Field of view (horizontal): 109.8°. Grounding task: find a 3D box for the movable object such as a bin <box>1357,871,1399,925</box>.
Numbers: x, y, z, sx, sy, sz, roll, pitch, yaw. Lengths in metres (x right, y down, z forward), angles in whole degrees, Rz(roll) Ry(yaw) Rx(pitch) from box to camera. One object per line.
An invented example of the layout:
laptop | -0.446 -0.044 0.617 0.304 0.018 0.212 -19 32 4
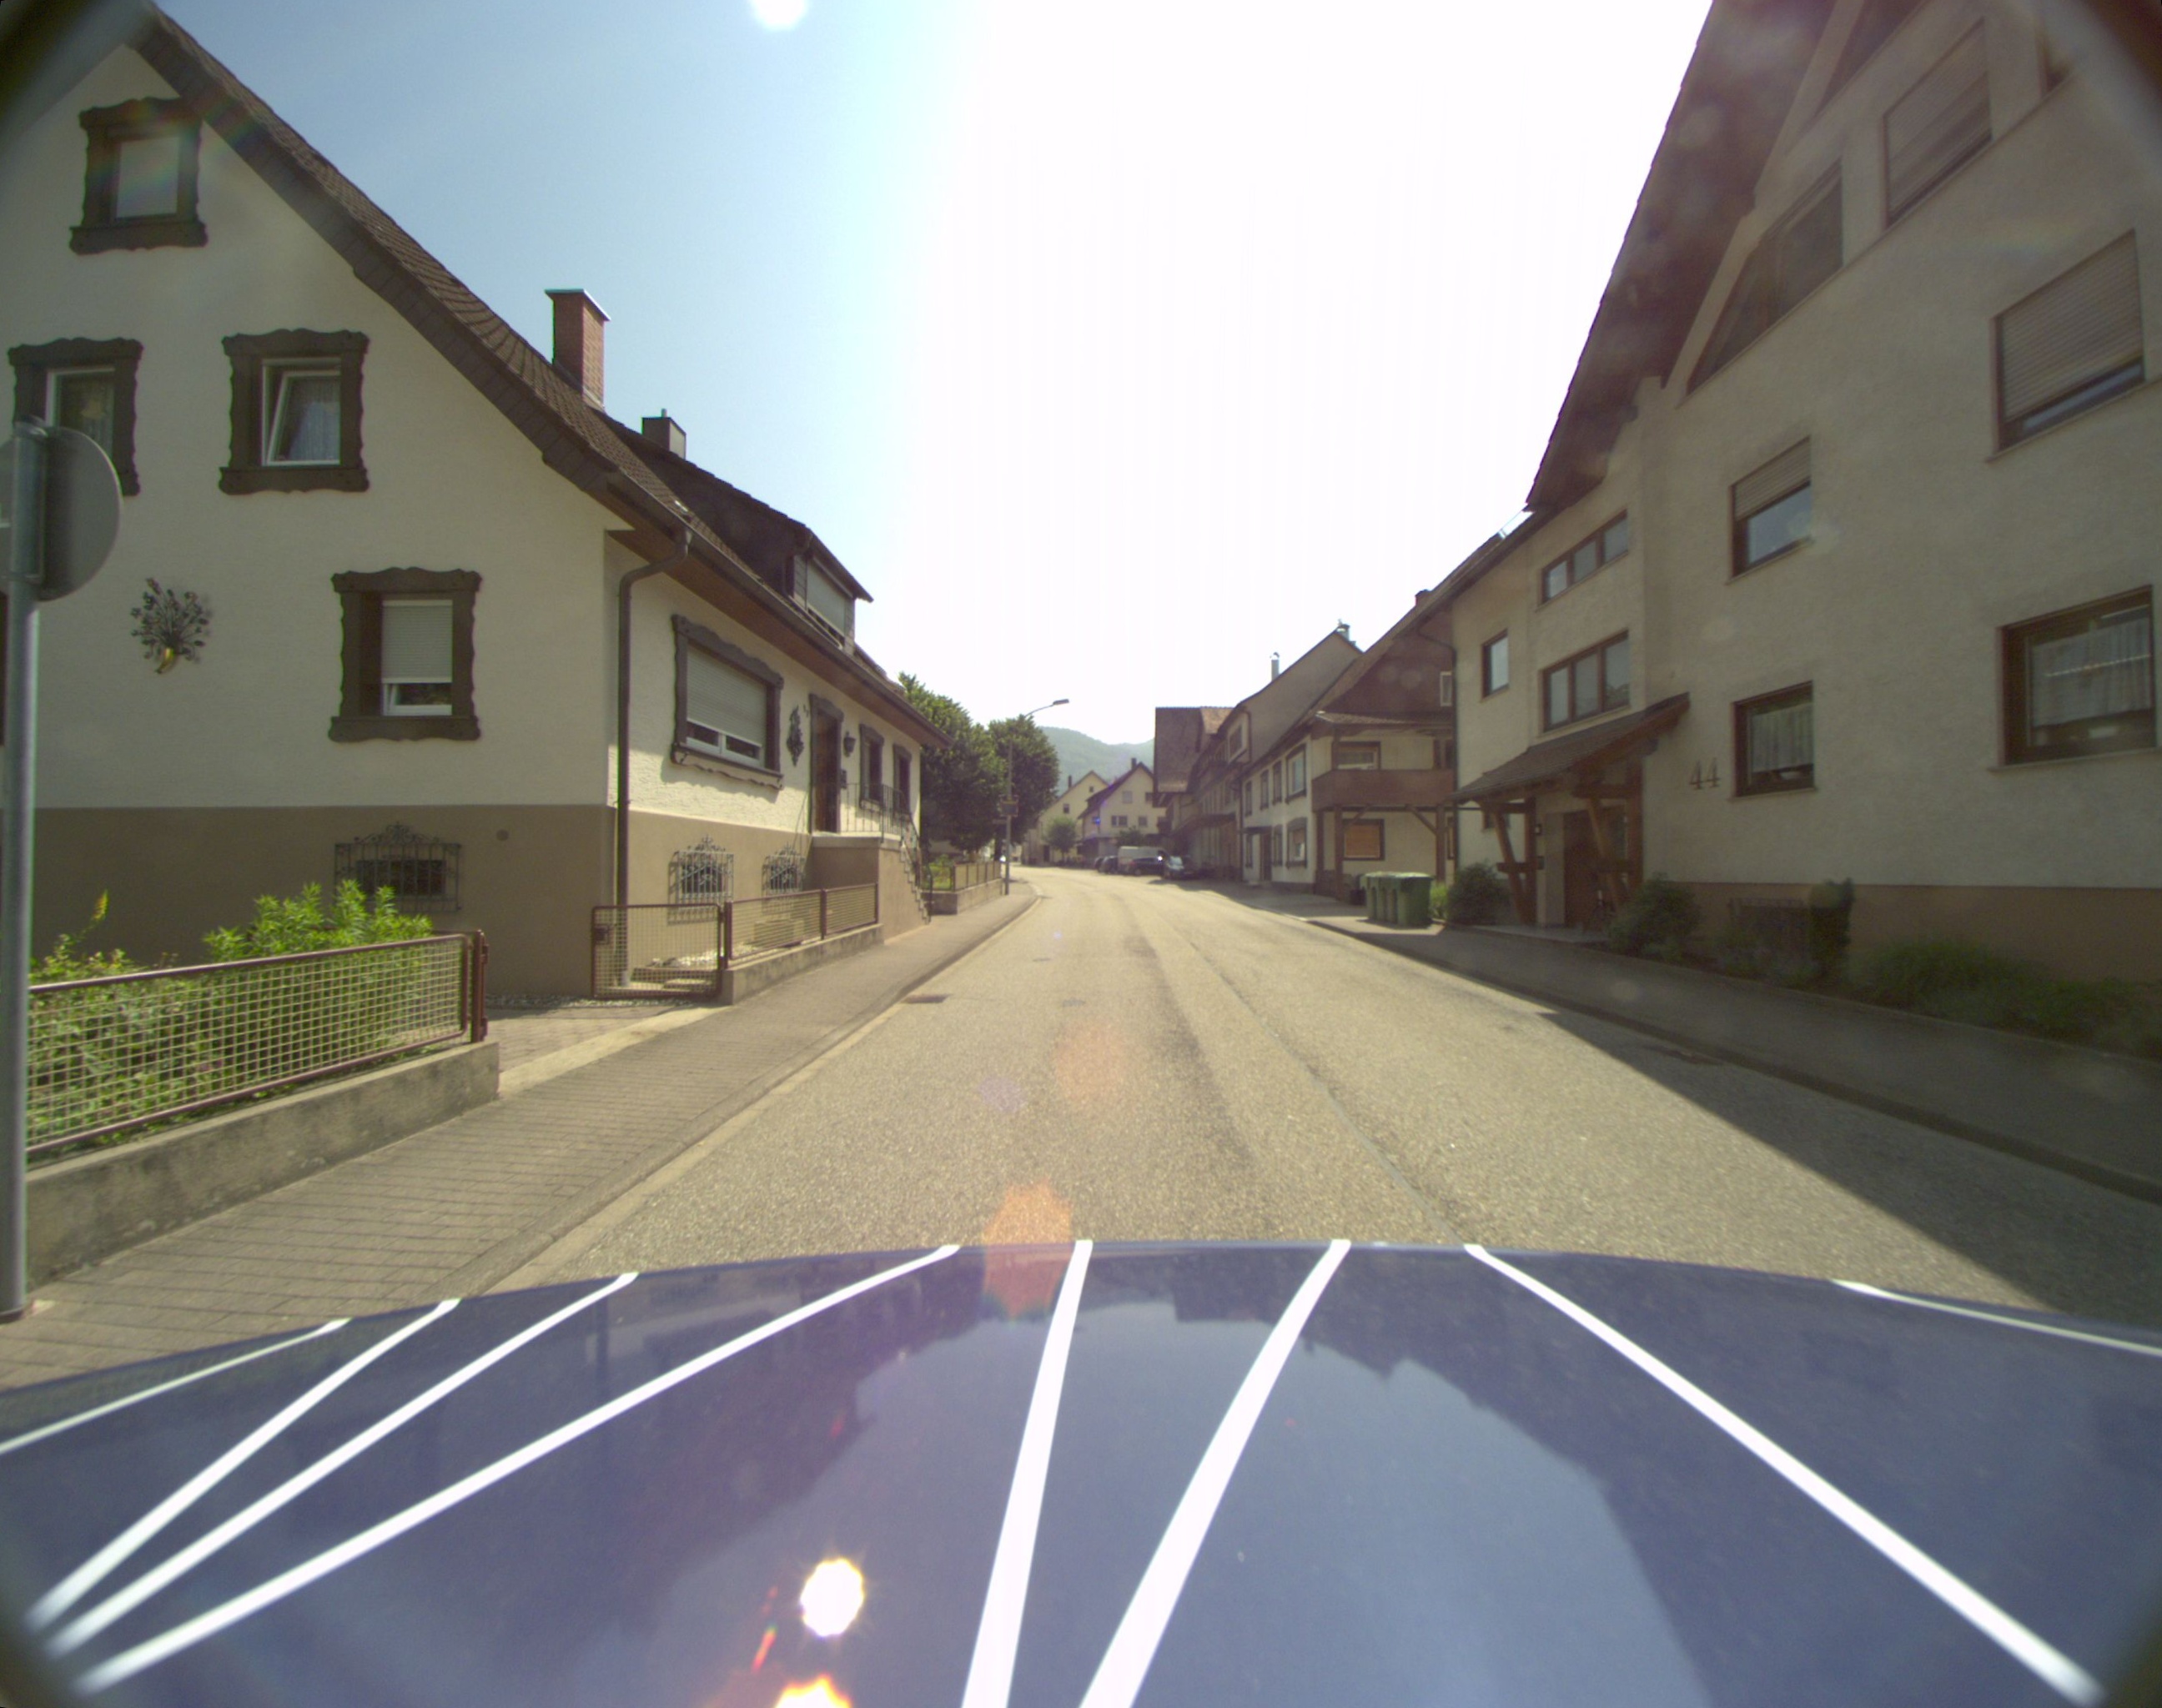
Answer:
movable object such as a bin | 6.813 1.000 17.462 0.719 1.174 0.598 2 1 2

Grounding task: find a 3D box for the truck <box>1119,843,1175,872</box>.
truck | 5.235 0.262 60.757 4.177 2.253 1.999 -1 1 -4

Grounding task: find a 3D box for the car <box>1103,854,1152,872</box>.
car | 3.961 0.756 64.731 3.998 1.444 1.627 2 0 -3

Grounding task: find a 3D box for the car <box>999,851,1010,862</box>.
car | -14.354 0.440 142.715 1.999 2.002 3.997 -1 1 -5

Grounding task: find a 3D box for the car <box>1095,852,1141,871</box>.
car | 3.314 0.640 67.861 3.996 1.563 1.577 2 0 3

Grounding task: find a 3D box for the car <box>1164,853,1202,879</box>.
car | 6.463 0.735 48.419 1.774 1.544 4.285 -1 0 -1

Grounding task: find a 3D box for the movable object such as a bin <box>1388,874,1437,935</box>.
movable object such as a bin | 6.750 1.022 15.494 0.719 1.174 0.598 2 1 2

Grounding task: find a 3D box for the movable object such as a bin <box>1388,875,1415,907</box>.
movable object such as a bin | 10.833 1.251 25.681 0.608 1.045 0.632 1 1 1

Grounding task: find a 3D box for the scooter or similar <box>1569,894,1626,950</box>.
scooter or similar | 7.855 1.027 11.579 0.507 0.821 0.537 0 0 1

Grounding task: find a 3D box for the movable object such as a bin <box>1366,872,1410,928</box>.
movable object such as a bin | 6.778 1.007 16.803 0.719 1.174 0.598 2 1 2

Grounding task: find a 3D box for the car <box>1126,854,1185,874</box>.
car | 5.436 0.724 55.730 4.105 1.494 1.753 0 0 0

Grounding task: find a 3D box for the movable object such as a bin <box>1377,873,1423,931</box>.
movable object such as a bin | 6.772 1.015 16.151 0.719 1.174 0.598 2 1 2

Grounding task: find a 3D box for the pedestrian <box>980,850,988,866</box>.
pedestrian | -10.070 0.377 78.700 0.682 1.661 0.712 2 1 1

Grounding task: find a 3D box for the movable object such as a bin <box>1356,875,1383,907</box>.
movable object such as a bin | 9.745 1.242 25.682 0.623 1.045 0.696 1 1 1
